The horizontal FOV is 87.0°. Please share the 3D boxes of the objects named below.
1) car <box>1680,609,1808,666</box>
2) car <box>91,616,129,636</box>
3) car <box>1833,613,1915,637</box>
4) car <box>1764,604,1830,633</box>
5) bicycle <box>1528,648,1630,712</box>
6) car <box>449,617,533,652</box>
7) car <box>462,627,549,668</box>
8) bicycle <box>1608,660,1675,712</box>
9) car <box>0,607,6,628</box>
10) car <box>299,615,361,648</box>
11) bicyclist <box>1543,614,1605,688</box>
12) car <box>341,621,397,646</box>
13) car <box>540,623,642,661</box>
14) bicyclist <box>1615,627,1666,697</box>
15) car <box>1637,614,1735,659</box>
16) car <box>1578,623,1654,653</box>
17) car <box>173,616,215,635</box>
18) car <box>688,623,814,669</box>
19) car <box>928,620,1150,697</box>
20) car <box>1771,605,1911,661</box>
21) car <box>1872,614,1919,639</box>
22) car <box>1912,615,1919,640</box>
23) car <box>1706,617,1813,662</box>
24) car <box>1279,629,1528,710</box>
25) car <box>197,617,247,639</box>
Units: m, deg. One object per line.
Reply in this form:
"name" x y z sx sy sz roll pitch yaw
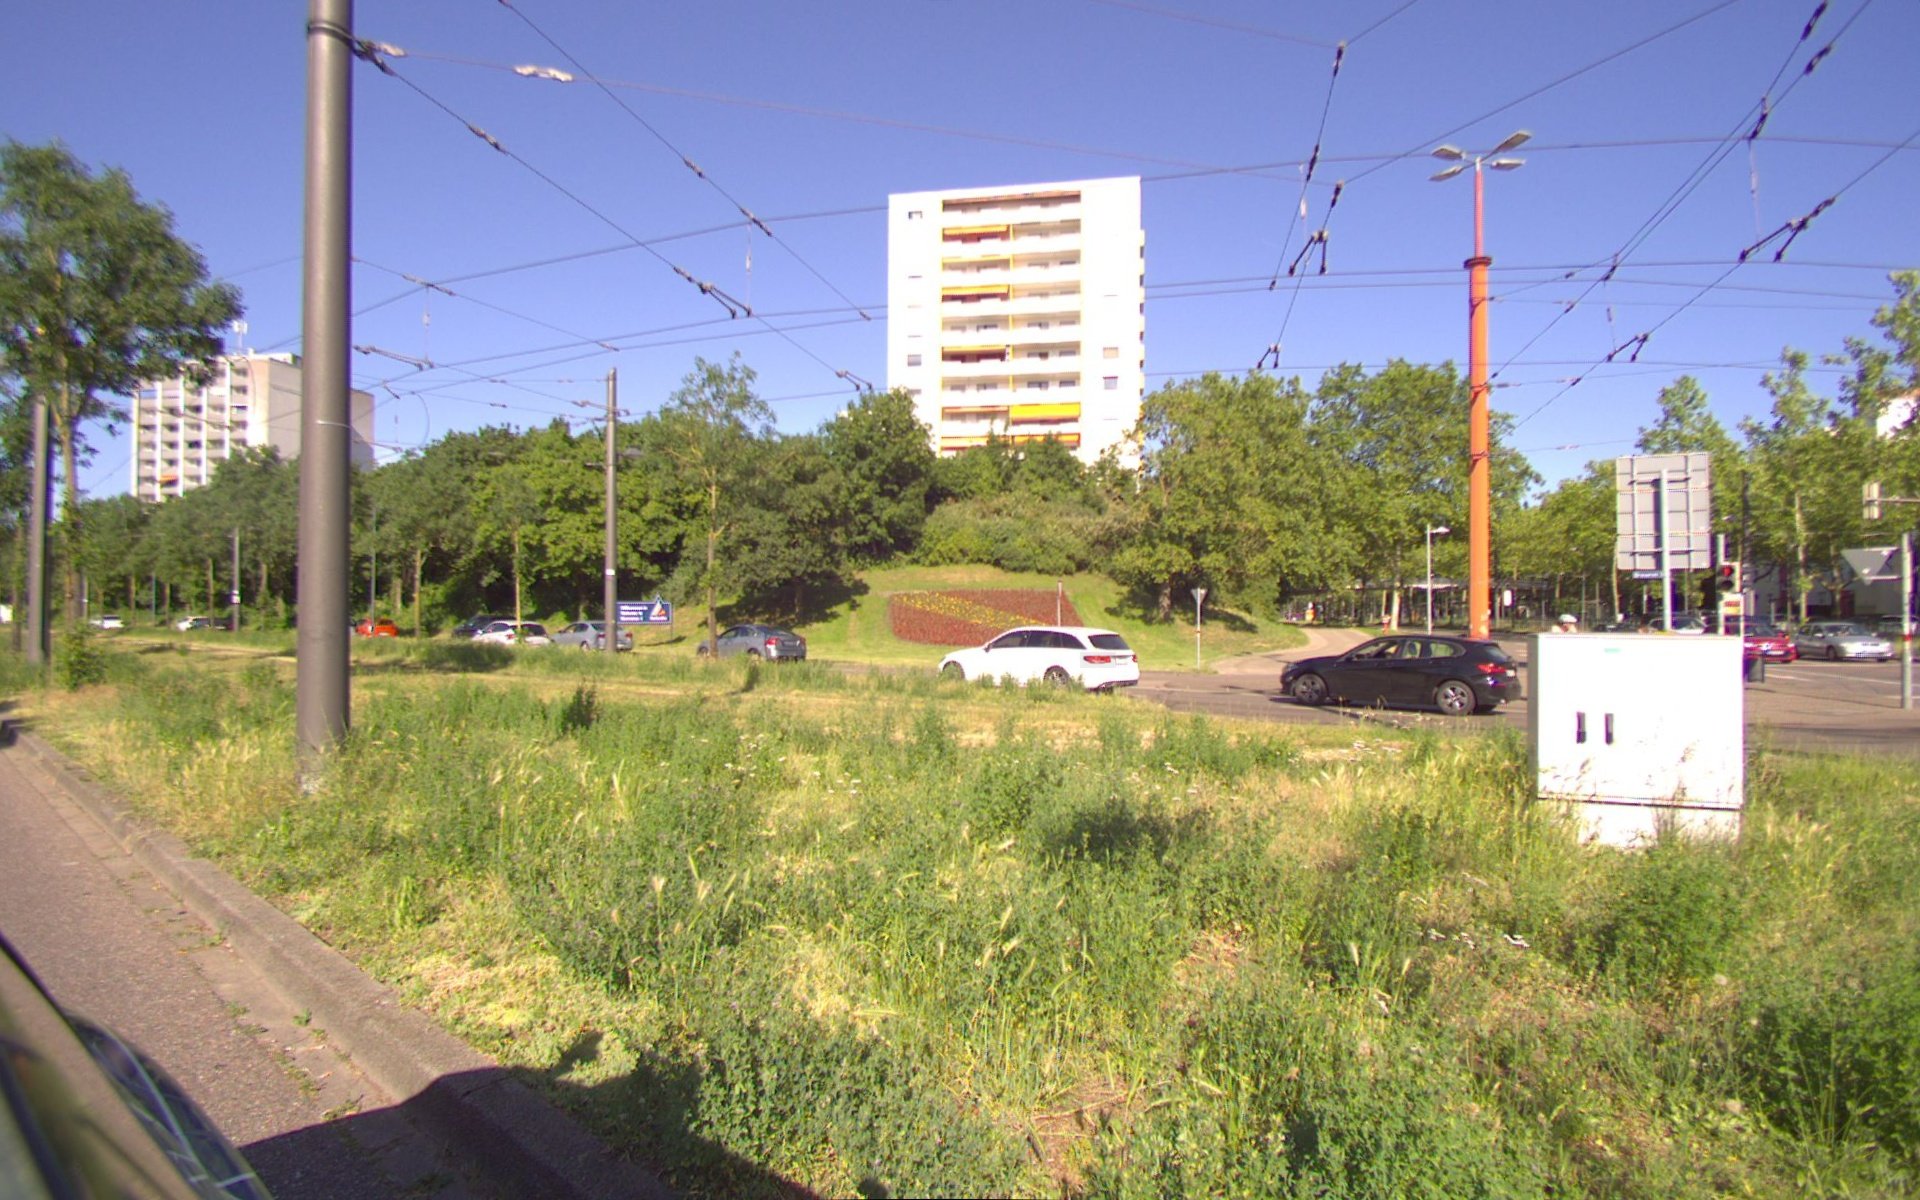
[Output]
"car" 28.670 1.327 37.206 1.979 1.915 4.259 -1 0 11
"car" -74.127 2.241 88.257 4.654 1.633 1.875 -1 0 41
"car" 65.529 1.786 72.610 1.864 1.608 4.010 0 0 -34
"car" 60.486 1.363 73.233 1.982 2.029 4.385 -1 -1 15
"bicycle" 12.276 1.555 20.173 0.467 1.089 2.362 0 0 -3
"car" -22.068 1.590 47.562 4.631 1.492 1.972 -1 0 43
"car" -17.518 1.832 38.931 4.183 1.484 1.571 -3 -4 44
"bicycle" 13.327 1.668 19.828 0.364 0.889 1.623 -1 0 6
"car" -114.059 2.087 119.224 6.880 2.387 2.017 -1 0 43
"car" -32.512 1.595 52.210 3.757 1.620 1.744 -1 -2 42
"bicyclist" 12.289 1.005 20.266 0.741 1.441 0.757 -1 0 -1
"car" -33.600 1.877 57.516 4.177 1.307 1.639 -1 0 43
"car" -15.202 1.676 41.554 4.693 1.443 1.972 -1 -2 42
"bicyclist" 13.340 1.200 19.845 0.542 1.333 0.699 -1 0 5
"car" 30.740 1.525 43.002 1.893 1.763 3.985 -1 0 11
"car" 31.944 1.814 49.394 1.718 1.332 3.985 -1 0 11
"car" -62.524 2.064 82.570 4.542 1.408 1.879 -1 0 42
"car" -7.031 1.490 33.818 4.400 1.384 1.972 -1 0 43
"car" 1.568 1.170 21.431 4.642 1.433 1.685 -1 -2 42
"car" 31.976 1.145 36.913 1.979 1.915 4.259 -1 0 11
"car" 64.818 1.781 68.710 1.864 1.608 4.010 0 0 -34
"car" 64.138 1.777 65.004 1.864 1.608 4.010 0 0 -34
"car" 33.541 1.617 42.580 1.893 1.763 3.985 -1 0 11
"car" 8.431 1.256 19.413 4.030 1.352 1.841 -1 -2 42
"car" -50.816 1.924 69.605 4.992 1.420 1.971 -1 0 44
